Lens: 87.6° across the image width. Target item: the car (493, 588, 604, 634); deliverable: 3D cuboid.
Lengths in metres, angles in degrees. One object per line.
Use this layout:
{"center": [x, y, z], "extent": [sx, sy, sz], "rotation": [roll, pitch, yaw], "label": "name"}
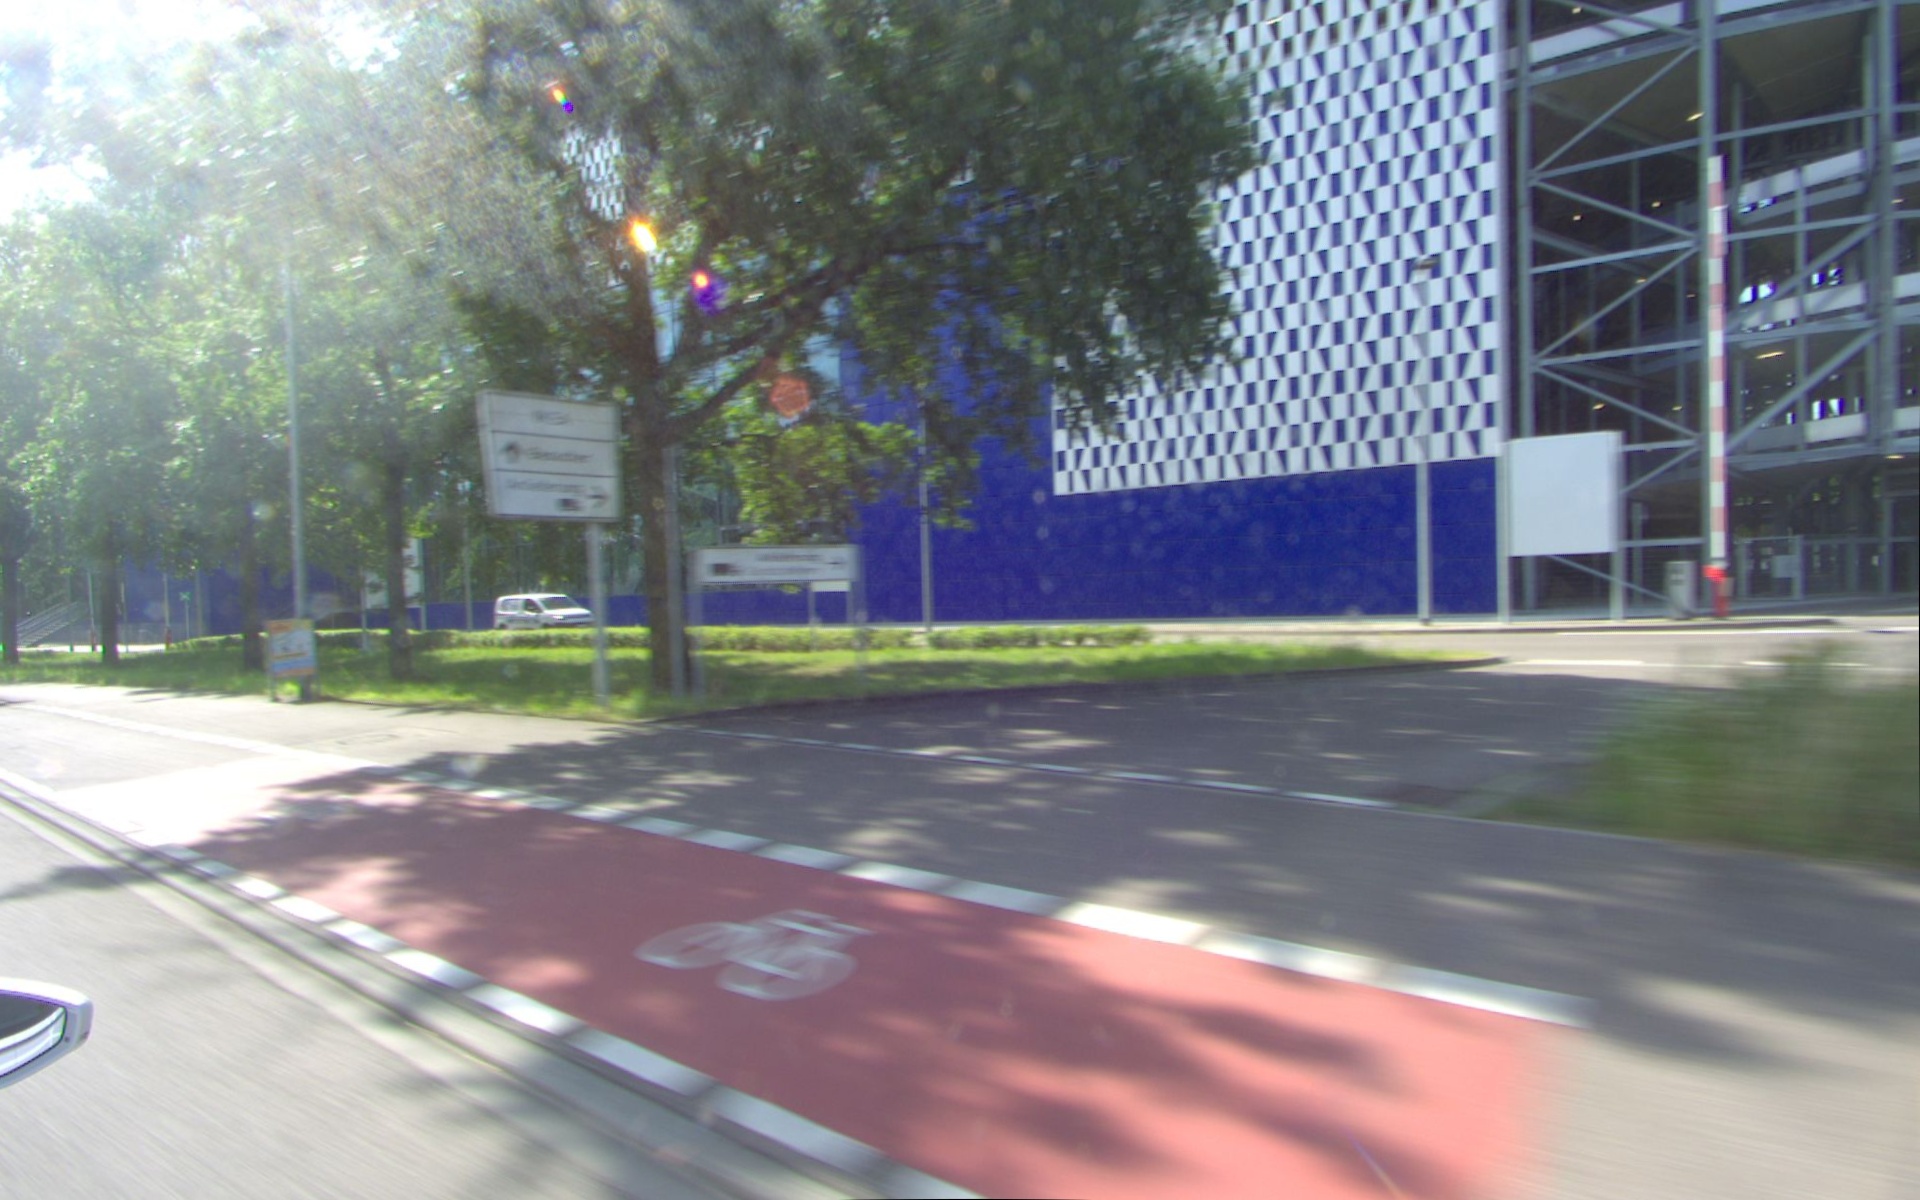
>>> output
{"center": [-15.848, 0.457, 38.540], "extent": [4.243, 1.660, 1.847], "rotation": [-1, -1, 32], "label": "car"}
